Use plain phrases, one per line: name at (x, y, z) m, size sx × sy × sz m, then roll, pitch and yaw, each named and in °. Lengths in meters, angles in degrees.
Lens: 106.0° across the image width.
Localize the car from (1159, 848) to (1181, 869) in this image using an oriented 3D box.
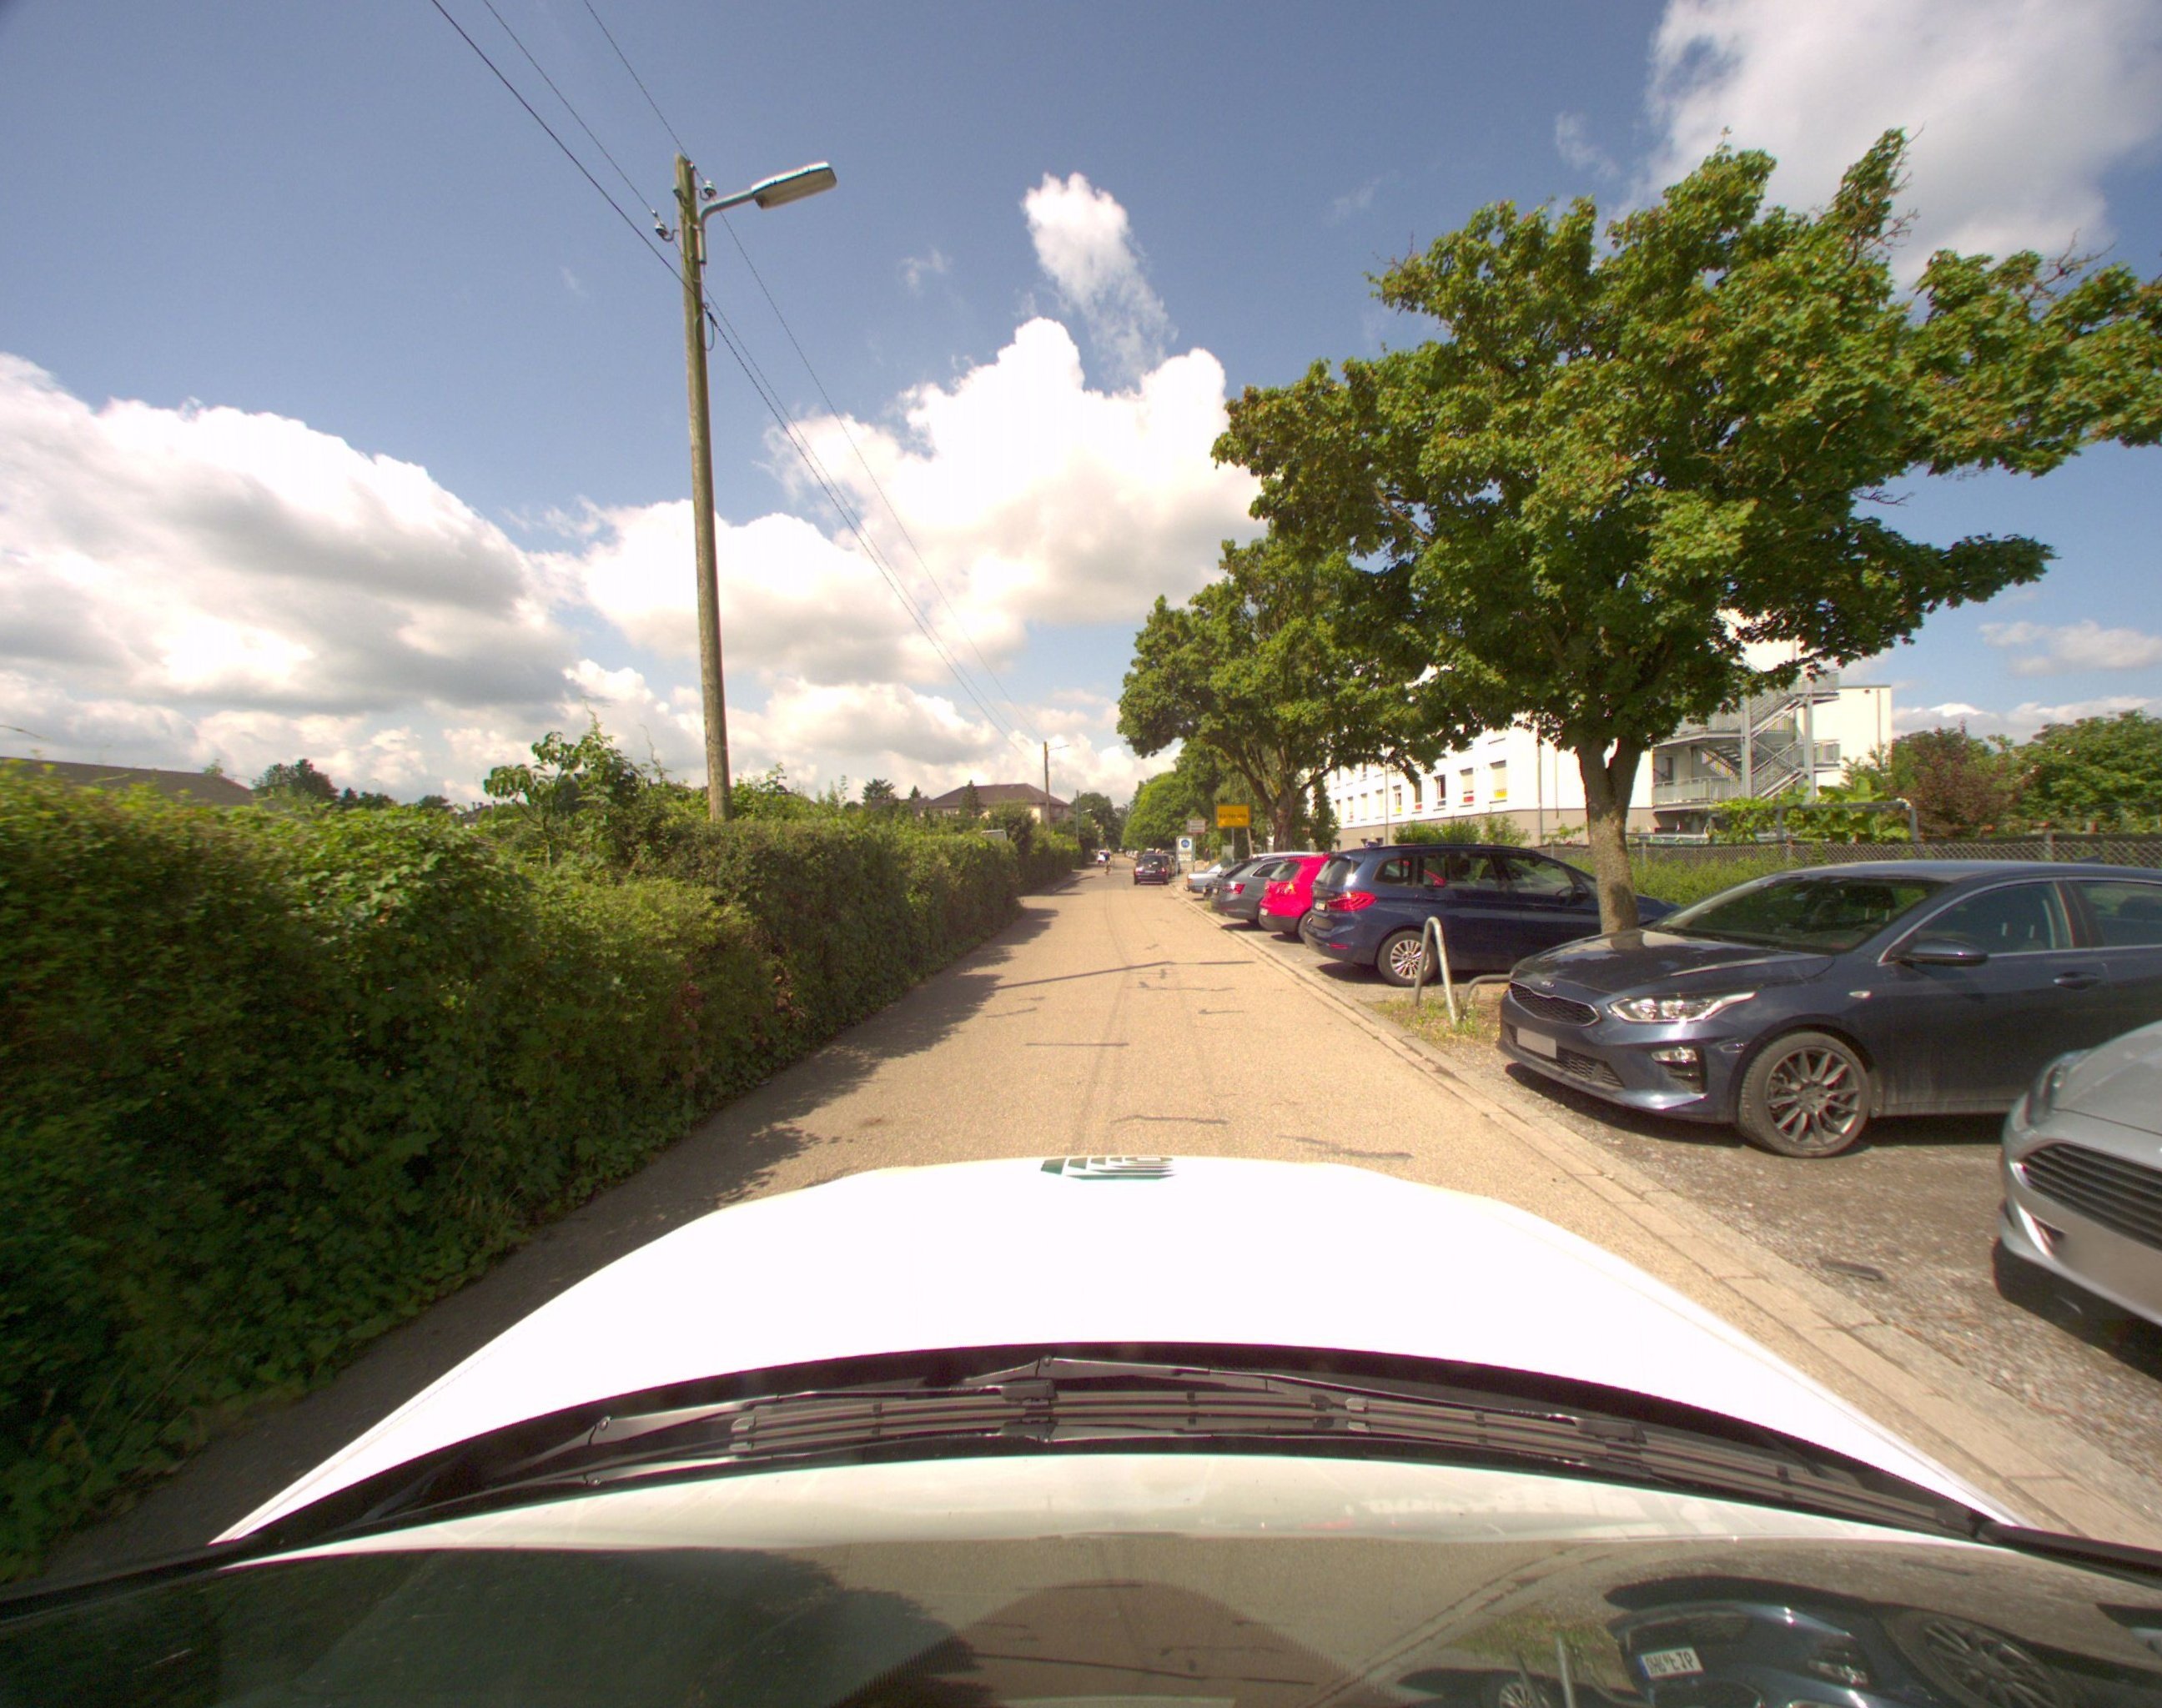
car at (7.790, 0.383, 71.021) m, size 1.864 × 1.806 × 3.439 m, roll 0°, pitch 0°, yaw 7°

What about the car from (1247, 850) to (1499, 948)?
car at (4.955, 0.742, 14.230) m, size 3.794 × 1.532 × 1.763 m, roll -1°, pitch 0°, yaw 2°

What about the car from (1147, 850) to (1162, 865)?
car at (10.059, 0.471, 111.686) m, size 2.048 × 1.926 × 4.547 m, roll 0°, pitch 0°, yaw 5°

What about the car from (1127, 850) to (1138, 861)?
car at (10.163, 0.312, 159.818) m, size 2.048 × 1.961 × 4.547 m, roll 0°, pitch 0°, yaw 5°

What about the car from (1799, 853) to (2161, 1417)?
car at (4.769, 0.760, 2.309) m, size 3.799 × 1.492 × 1.903 m, roll 1°, pitch 0°, yaw 1°

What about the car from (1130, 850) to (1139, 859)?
car at (12.337, 0.109, 189.266) m, size 1.986 × 2.014 × 4.002 m, roll 1°, pitch 0°, yaw 2°

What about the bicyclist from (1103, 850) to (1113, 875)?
bicyclist at (2.028, 0.634, 61.909) m, size 0.655 × 1.852 × 1.044 m, roll -2°, pitch 0°, yaw 5°

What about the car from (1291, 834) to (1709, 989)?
car at (4.867, 0.650, 9.975) m, size 4.137 × 1.637 × 1.880 m, roll -1°, pitch 0°, yaw 3°

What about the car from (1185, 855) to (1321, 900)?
car at (5.752, 0.786, 27.645) m, size 4.336 × 1.392 × 1.721 m, roll -2°, pitch -1°, yaw 6°

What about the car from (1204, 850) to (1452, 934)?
car at (4.908, 0.743, 16.643) m, size 4.533 × 1.578 × 1.809 m, roll 1°, pitch 0°, yaw 1°

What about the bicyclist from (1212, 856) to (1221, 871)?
bicyclist at (16.175, 1.102, 97.322) m, size 0.777 × 1.785 × 0.900 m, roll 0°, pitch -1°, yaw 34°

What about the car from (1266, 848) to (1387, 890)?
car at (9.615, 0.569, 32.082) m, size 4.225 × 1.430 × 1.759 m, roll -3°, pitch 0°, yaw 1°

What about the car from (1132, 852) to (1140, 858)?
car at (13.744, 0.282, 204.065) m, size 1.842 × 1.618 × 4.008 m, roll 0°, pitch 0°, yaw 7°

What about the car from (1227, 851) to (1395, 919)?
car at (5.462, 0.717, 19.616) m, size 3.563 × 1.549 × 1.666 m, roll 1°, pitch 0°, yaw -1°

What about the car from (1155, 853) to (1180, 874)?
car at (6.240, 0.699, 58.400) m, size 1.654 × 1.439 × 3.751 m, roll 0°, pitch 0°, yaw 7°

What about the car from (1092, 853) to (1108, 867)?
car at (2.648, 0.753, 110.006) m, size 1.894 × 1.814 × 4.005 m, roll 0°, pitch 0°, yaw 5°

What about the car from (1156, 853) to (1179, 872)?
car at (6.716, 0.675, 63.366) m, size 1.656 × 1.435 × 3.545 m, roll 0°, pitch 0°, yaw 3°

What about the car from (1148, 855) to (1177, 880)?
car at (5.288, 0.826, 52.573) m, size 1.653 × 1.552 × 3.647 m, roll 0°, pitch 0°, yaw 10°

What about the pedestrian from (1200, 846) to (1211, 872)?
pedestrian at (8.461, 0.344, 55.265) m, size 0.605 × 1.745 × 0.725 m, roll 0°, pitch -1°, yaw 16°

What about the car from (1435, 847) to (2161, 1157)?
car at (4.743, 0.735, 4.993) m, size 4.319 × 1.492 × 1.976 m, roll 1°, pitch 0°, yaw 1°

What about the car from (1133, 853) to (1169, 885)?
car at (3.633, 0.743, 41.611) m, size 1.654 × 1.506 × 4.008 m, roll 0°, pitch 0°, yaw 7°

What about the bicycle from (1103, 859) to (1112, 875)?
bicycle at (2.041, 0.952, 61.901) m, size 0.515 × 1.150 × 1.829 m, roll -2°, pitch 0°, yaw 5°

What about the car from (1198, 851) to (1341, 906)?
car at (5.601, 0.713, 24.538) m, size 3.919 × 1.559 × 1.868 m, roll 1°, pitch 0°, yaw 0°
